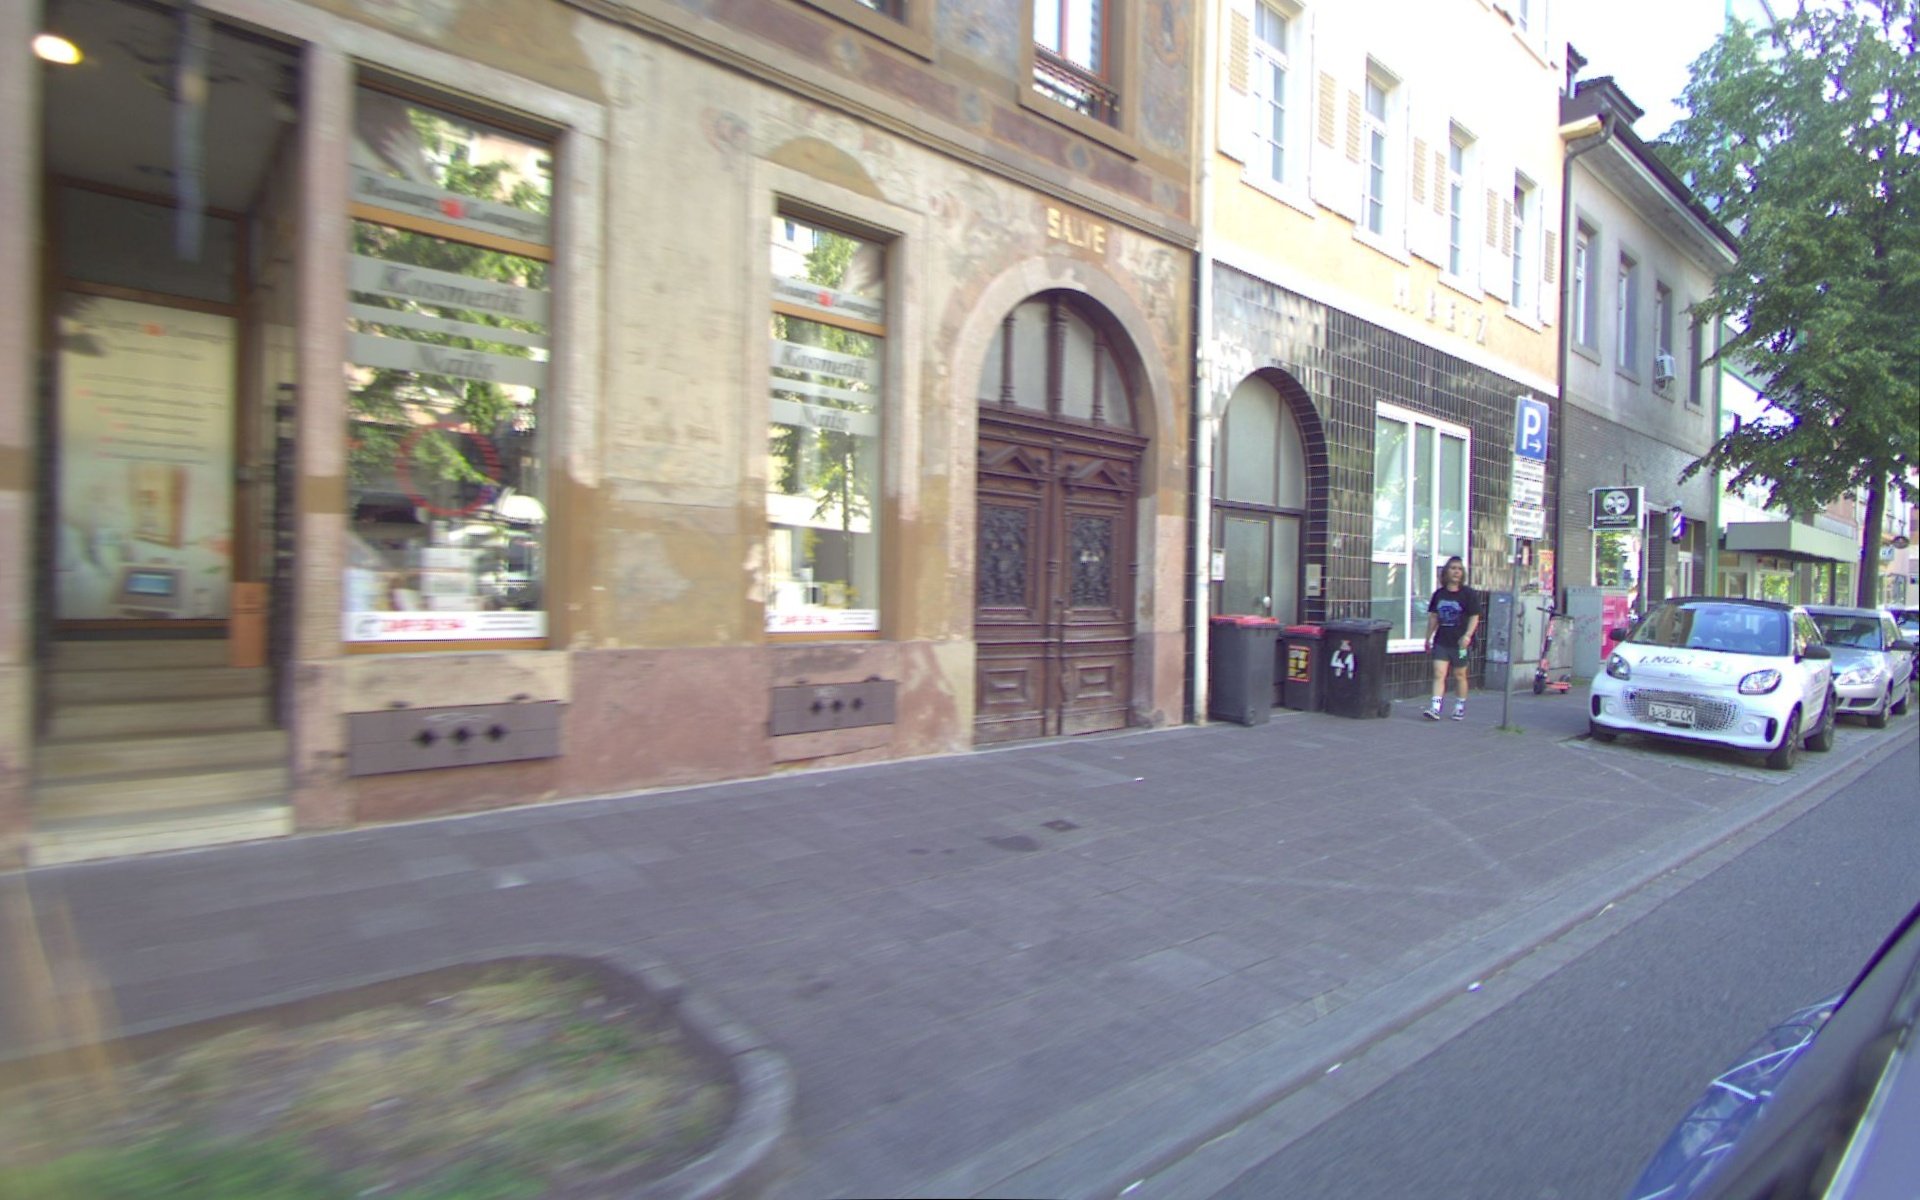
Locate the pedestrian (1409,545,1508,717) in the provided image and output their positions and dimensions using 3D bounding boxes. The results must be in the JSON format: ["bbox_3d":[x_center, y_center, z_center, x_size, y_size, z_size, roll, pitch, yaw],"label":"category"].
[{"bbox_3d":[5.449,0.316,11.073,0.757,1.786,0.624,1,3,-40],"label":"pedestrian"}]

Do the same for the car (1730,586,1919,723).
[{"bbox_3d":[12.342,0.656,14.179,4.161,1.547,1.617,0,4,-42],"label":"car"}]

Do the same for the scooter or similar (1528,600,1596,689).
[{"bbox_3d":[8.536,0.612,14.340,1.147,1.201,0.400,0,3,-40],"label":"scooter or similar"}]

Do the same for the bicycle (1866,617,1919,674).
[{"bbox_3d":[19.240,0.947,20.183,0.601,1.024,1.626,1,5,-42],"label":"bicycle"}]

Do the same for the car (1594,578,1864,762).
[{"bbox_3d":[8.023,0.603,10.494,3.008,1.547,1.617,0,3,-42],"label":"car"}]

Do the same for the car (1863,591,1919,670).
[{"bbox_3d":[21.119,0.661,21.852,4.160,1.545,1.887,0,3,-42],"label":"car"}]

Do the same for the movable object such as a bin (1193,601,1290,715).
[{"bbox_3d":[2.807,0.556,10.101,0.709,1.052,0.590,1,3,-40],"label":"movable object such as a bin"}]

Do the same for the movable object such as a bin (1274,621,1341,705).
[{"bbox_3d":[3.840,0.678,11.180,0.470,0.871,0.512,1,1,-39],"label":"movable object such as a bin"}]

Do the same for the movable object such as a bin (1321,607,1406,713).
[{"bbox_3d":[4.349,0.625,10.900,0.709,1.052,0.523,1,3,-40],"label":"movable object such as a bin"}]
